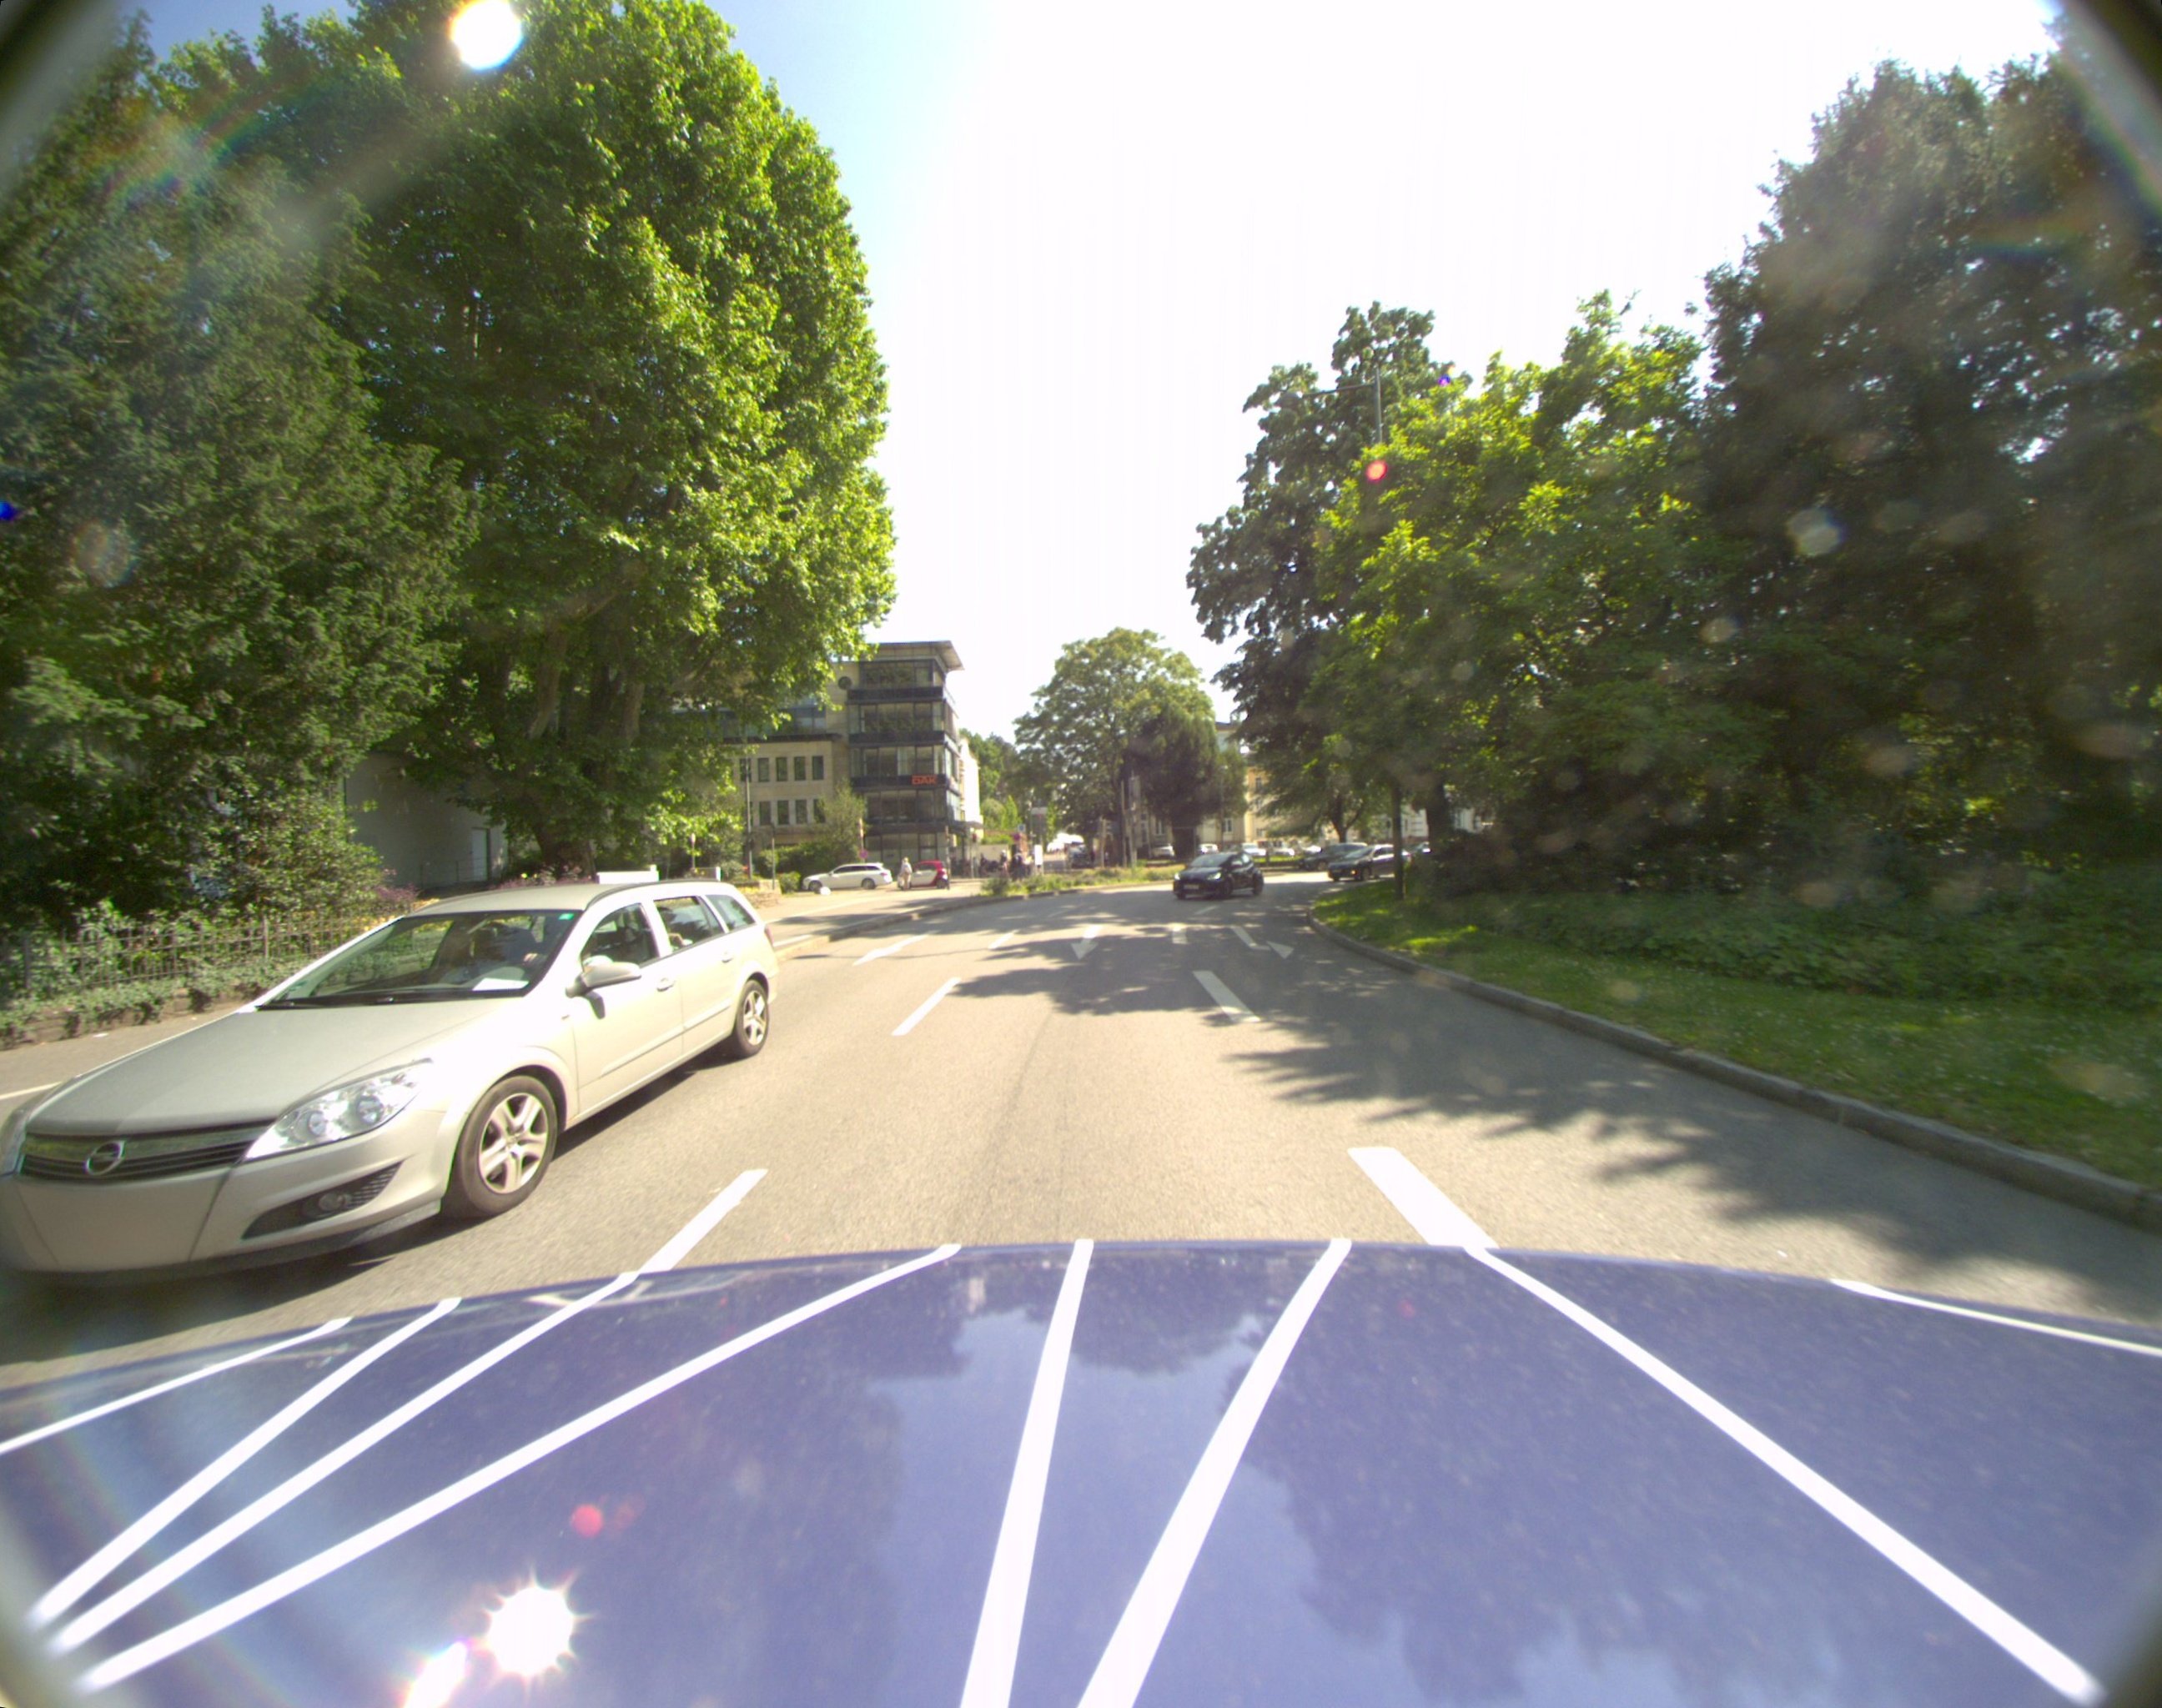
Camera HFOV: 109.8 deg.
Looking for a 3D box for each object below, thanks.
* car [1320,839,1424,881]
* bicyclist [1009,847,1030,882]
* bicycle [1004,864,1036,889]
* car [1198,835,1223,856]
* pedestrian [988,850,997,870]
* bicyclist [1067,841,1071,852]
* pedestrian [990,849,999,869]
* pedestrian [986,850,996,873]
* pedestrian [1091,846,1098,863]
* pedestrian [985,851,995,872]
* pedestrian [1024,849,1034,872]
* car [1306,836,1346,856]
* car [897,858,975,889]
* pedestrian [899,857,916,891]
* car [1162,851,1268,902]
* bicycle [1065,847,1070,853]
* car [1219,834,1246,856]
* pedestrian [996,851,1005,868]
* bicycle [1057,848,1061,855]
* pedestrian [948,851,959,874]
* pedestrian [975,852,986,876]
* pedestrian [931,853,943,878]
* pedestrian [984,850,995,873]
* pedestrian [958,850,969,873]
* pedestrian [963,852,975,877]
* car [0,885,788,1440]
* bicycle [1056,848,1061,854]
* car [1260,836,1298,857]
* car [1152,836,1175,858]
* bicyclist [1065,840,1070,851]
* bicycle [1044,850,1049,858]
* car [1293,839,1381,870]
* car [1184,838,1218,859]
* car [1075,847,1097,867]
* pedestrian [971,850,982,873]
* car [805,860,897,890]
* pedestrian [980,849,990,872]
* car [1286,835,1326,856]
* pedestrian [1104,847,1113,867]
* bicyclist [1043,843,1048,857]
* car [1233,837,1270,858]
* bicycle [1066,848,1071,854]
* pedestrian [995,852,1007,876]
[{"bbox_3d":[12.635,0.212,32.994,4.147,1.674,1.887,-1,2,-25],"label":"car"},{"bbox_3d":[-2.900,0.478,35.675,0.710,1.603,0.732,-2,1,16],"label":"bicyclist"},{"bbox_3d":[-2.851,1.043,35.779,0.710,1.048,2.210,-2,0,16],"label":"bicycle"},{"bbox_3d":[12.690,-0.839,74.687,1.850,2.002,4.000,-2,0,2],"label":"car"},{"bbox_3d":[-7.798,0.510,66.904,0.602,1.695,0.604,-3,1,-1],"label":"pedestrian"},{"bbox_3d":[-2.329,-1.322,141.968,0.573,2.002,0.907,-2,1,5],"label":"bicyclist"},{"bbox_3d":[-7.340,0.433,64.587,0.602,1.695,0.604,-3,1,-1],"label":"pedestrian"},{"bbox_3d":[-6.972,0.572,59.023,0.602,1.695,0.604,-3,1,4],"label":"pedestrian"},{"bbox_3d":[1.379,0.042,77.876,0.602,1.695,0.604,-3,1,-1],"label":"pedestrian"},{"bbox_3d":[-7.288,0.590,61.135,0.602,1.695,0.730,-3,1,4],"label":"pedestrian"},{"bbox_3d":[-3.889,0.454,56.906,0.602,1.695,0.604,-3,1,4],"label":"pedestrian"},{"bbox_3d":[20.761,-0.690,64.531,1.851,1.569,3.998,-2,0,-4],"label":"car"},{"bbox_3d":[-7.801,1.025,41.220,3.953,1.443,1.810,-3,0,-7],"label":"car"},{"bbox_3d":[-8.628,0.993,37.820,0.711,1.663,0.534,-2,1,-4],"label":"pedestrian"},{"bbox_3d":[4.452,0.672,24.816,1.806,1.443,3.961,-1,1,37],"label":"car"},{"bbox_3d":[-2.652,-0.709,149.203,0.566,1.154,1.901,-2,0,13],"label":"bicycle"},{"bbox_3d":[14.816,-0.890,74.521,1.850,2.002,4.000,-2,0,2],"label":"car"},{"bbox_3d":[-7.667,0.558,72.332,0.602,1.587,0.604,-3,1,8],"label":"pedestrian"},{"bbox_3d":[-3.802,-0.457,132.739,0.566,1.154,1.899,-2,0,4],"label":"bicycle"},{"bbox_3d":[-9.599,0.669,57.116,0.602,1.695,0.604,-3,1,4],"label":"pedestrian"},{"bbox_3d":[-7.297,0.715,55.085,0.603,1.695,0.690,-3,1,5],"label":"pedestrian"},{"bbox_3d":[-10.182,0.803,53.892,0.690,1.695,0.602,-3,1,-5],"label":"pedestrian"},{"bbox_3d":[-6.939,0.589,57.703,0.602,1.695,0.604,-3,1,4],"label":"pedestrian"},{"bbox_3d":[-8.896,0.573,57.579,0.602,1.695,0.604,-3,1,4],"label":"pedestrian"},{"bbox_3d":[-7.994,0.746,54.160,0.653,1.695,0.646,-3,1,2],"label":"pedestrian"},{"bbox_3d":[-3.438,1.055,4.522,1.712,1.513,4.406,-3,0,-1],"label":"car"},{"bbox_3d":[-4.284,-0.585,143.132,0.566,1.154,1.900,-2,0,6],"label":"bicycle"},{"bbox_3d":[16.458,-0.608,63.382,1.851,1.652,3.998,-2,0,-4],"label":"car"},{"bbox_3d":[7.937,-0.699,73.092,1.850,2.002,4.000,-2,0,2],"label":"car"},{"bbox_3d":[-2.671,-1.702,149.172,0.573,2.002,0.908,-2,1,13],"label":"bicyclist"},{"bbox_3d":[-4.843,-0.018,106.228,0.566,1.154,1.899,-2,0,-1],"label":"bicycle"},{"bbox_3d":[14.665,0.031,43.594,4.418,1.545,1.684,-3,0,-7],"label":"car"},{"bbox_3d":[9.937,-0.443,63.140,1.851,1.652,3.998,-2,0,-4],"label":"car"},{"bbox_3d":[0.436,0.227,72.139,1.851,1.777,3.998,1,1,-2],"label":"car"},{"bbox_3d":[-7.911,0.593,57.498,0.602,1.695,0.604,-3,1,4],"label":"pedestrian"},{"bbox_3d":[-13.052,1.197,43.393,4.687,1.443,1.810,-3,0,-7],"label":"car"},{"bbox_3d":[-7.389,0.487,58.710,0.602,1.695,0.604,-3,1,4],"label":"pedestrian"},{"bbox_3d":[18.819,-0.671,63.651,1.851,1.652,3.998,-2,0,-4],"label":"car"},{"bbox_3d":[2.408,0.264,65.741,0.604,1.695,0.535,-3,1,-11],"label":"pedestrian"},{"bbox_3d":[-4.916,-0.546,106.139,0.574,2.002,0.749,-2,1,0],"label":"bicyclist"},{"bbox_3d":[14.048,-0.542,62.953,1.851,1.652,3.998,-2,0,-4],"label":"car"},{"bbox_3d":[-2.339,-0.613,141.684,0.566,1.154,1.900,-2,0,6],"label":"bicycle"},{"bbox_3d":[-5.707,0.686,54.270,0.701,1.695,0.603,-3,1,9],"label":"pedestrian"}]
